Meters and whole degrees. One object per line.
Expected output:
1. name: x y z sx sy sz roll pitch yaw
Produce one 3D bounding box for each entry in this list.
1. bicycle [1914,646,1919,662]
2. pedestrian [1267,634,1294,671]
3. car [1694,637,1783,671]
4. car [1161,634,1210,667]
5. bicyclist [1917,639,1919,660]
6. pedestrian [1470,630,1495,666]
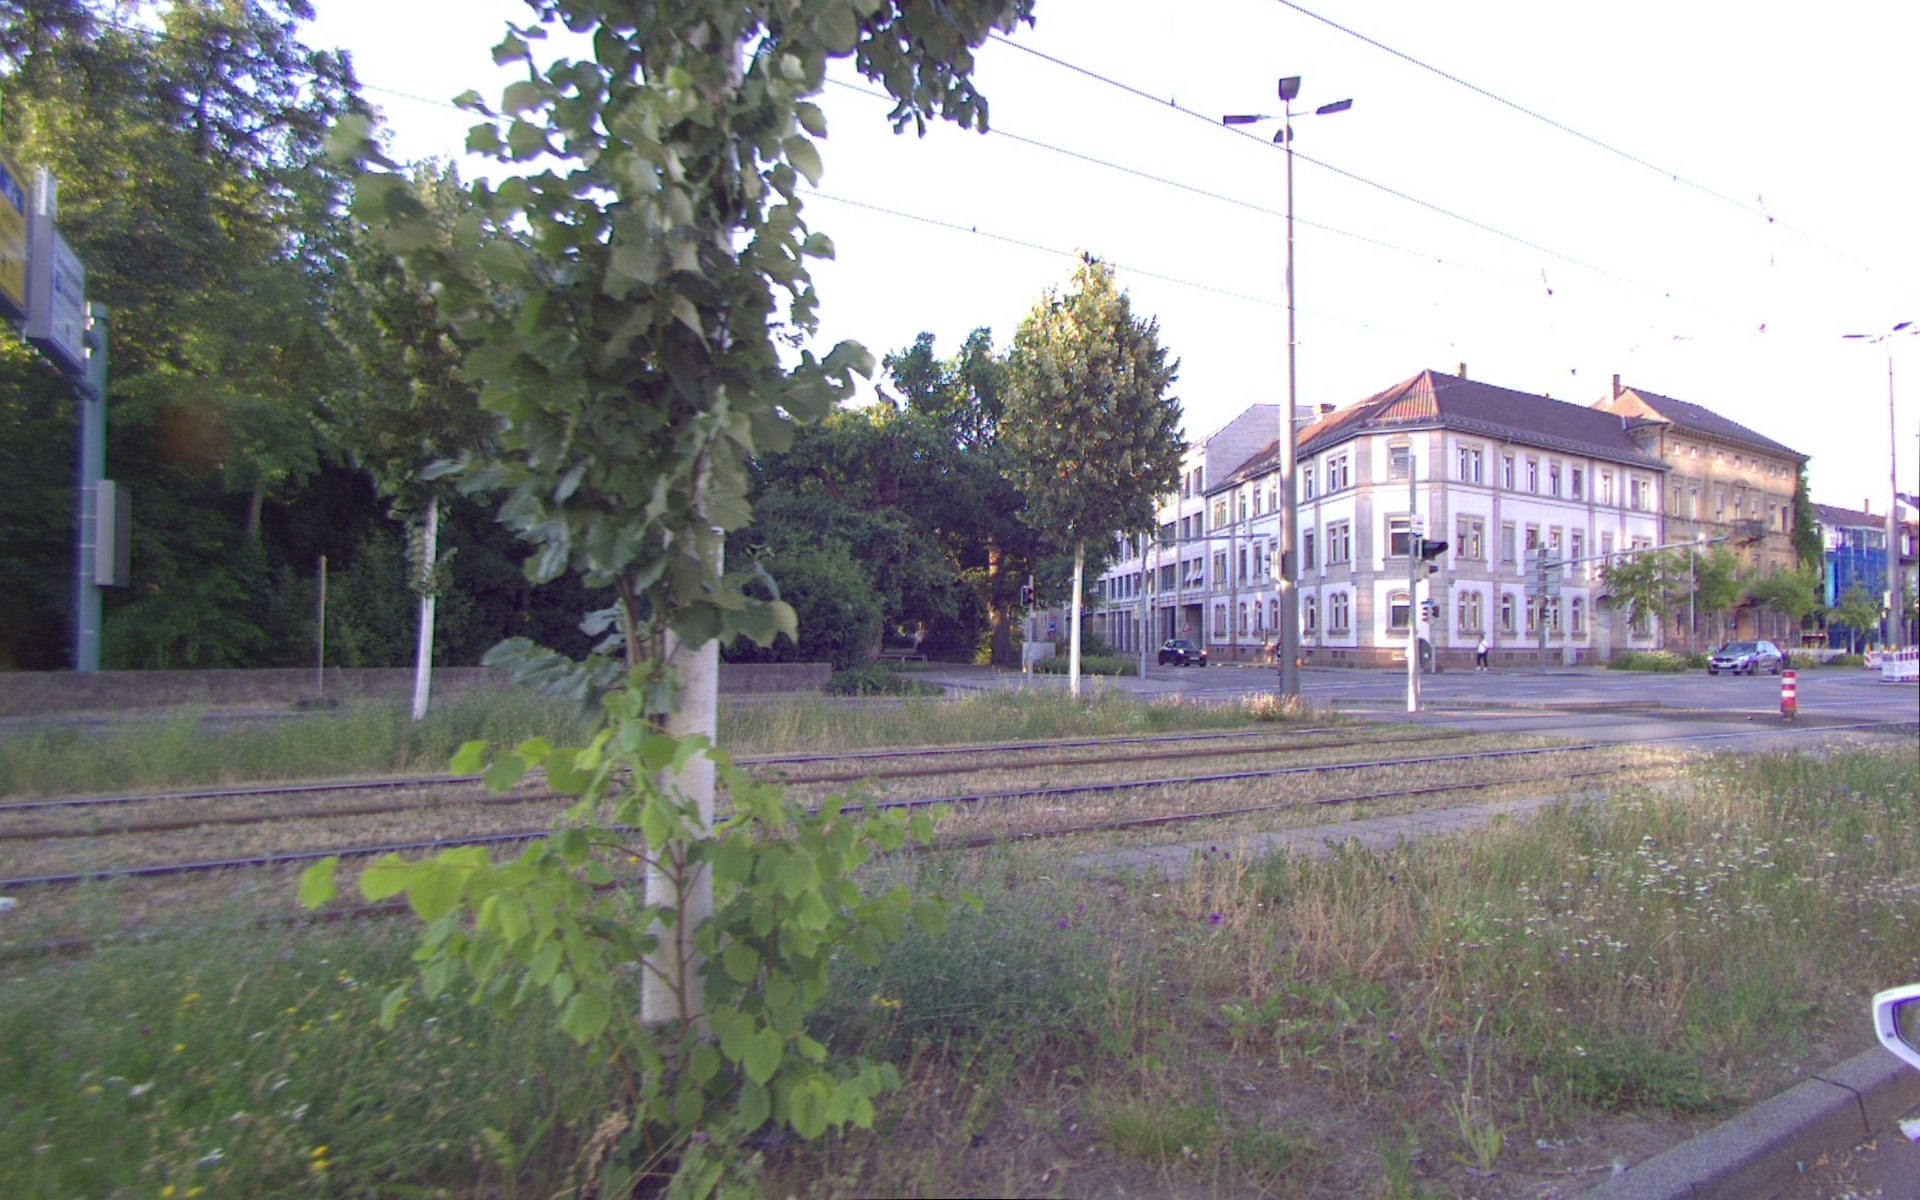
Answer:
1. bicycle: 60.734 3.390 63.225 1.538 1.002 0.587 1 0 -30
2. pedestrian: 13.226 2.166 41.409 0.926 1.478 0.600 1 0 -33
3. car: 37.370 2.573 48.192 4.076 1.601 1.984 1 -3 -31
4. car: 12.380 2.745 55.370 1.755 1.576 3.999 1 0 -1
5. bicyclist: 60.742 3.114 63.222 0.454 1.283 0.587 1 0 -30
6. pedestrian: 25.817 2.384 49.647 0.800 1.738 0.702 1 0 -18
